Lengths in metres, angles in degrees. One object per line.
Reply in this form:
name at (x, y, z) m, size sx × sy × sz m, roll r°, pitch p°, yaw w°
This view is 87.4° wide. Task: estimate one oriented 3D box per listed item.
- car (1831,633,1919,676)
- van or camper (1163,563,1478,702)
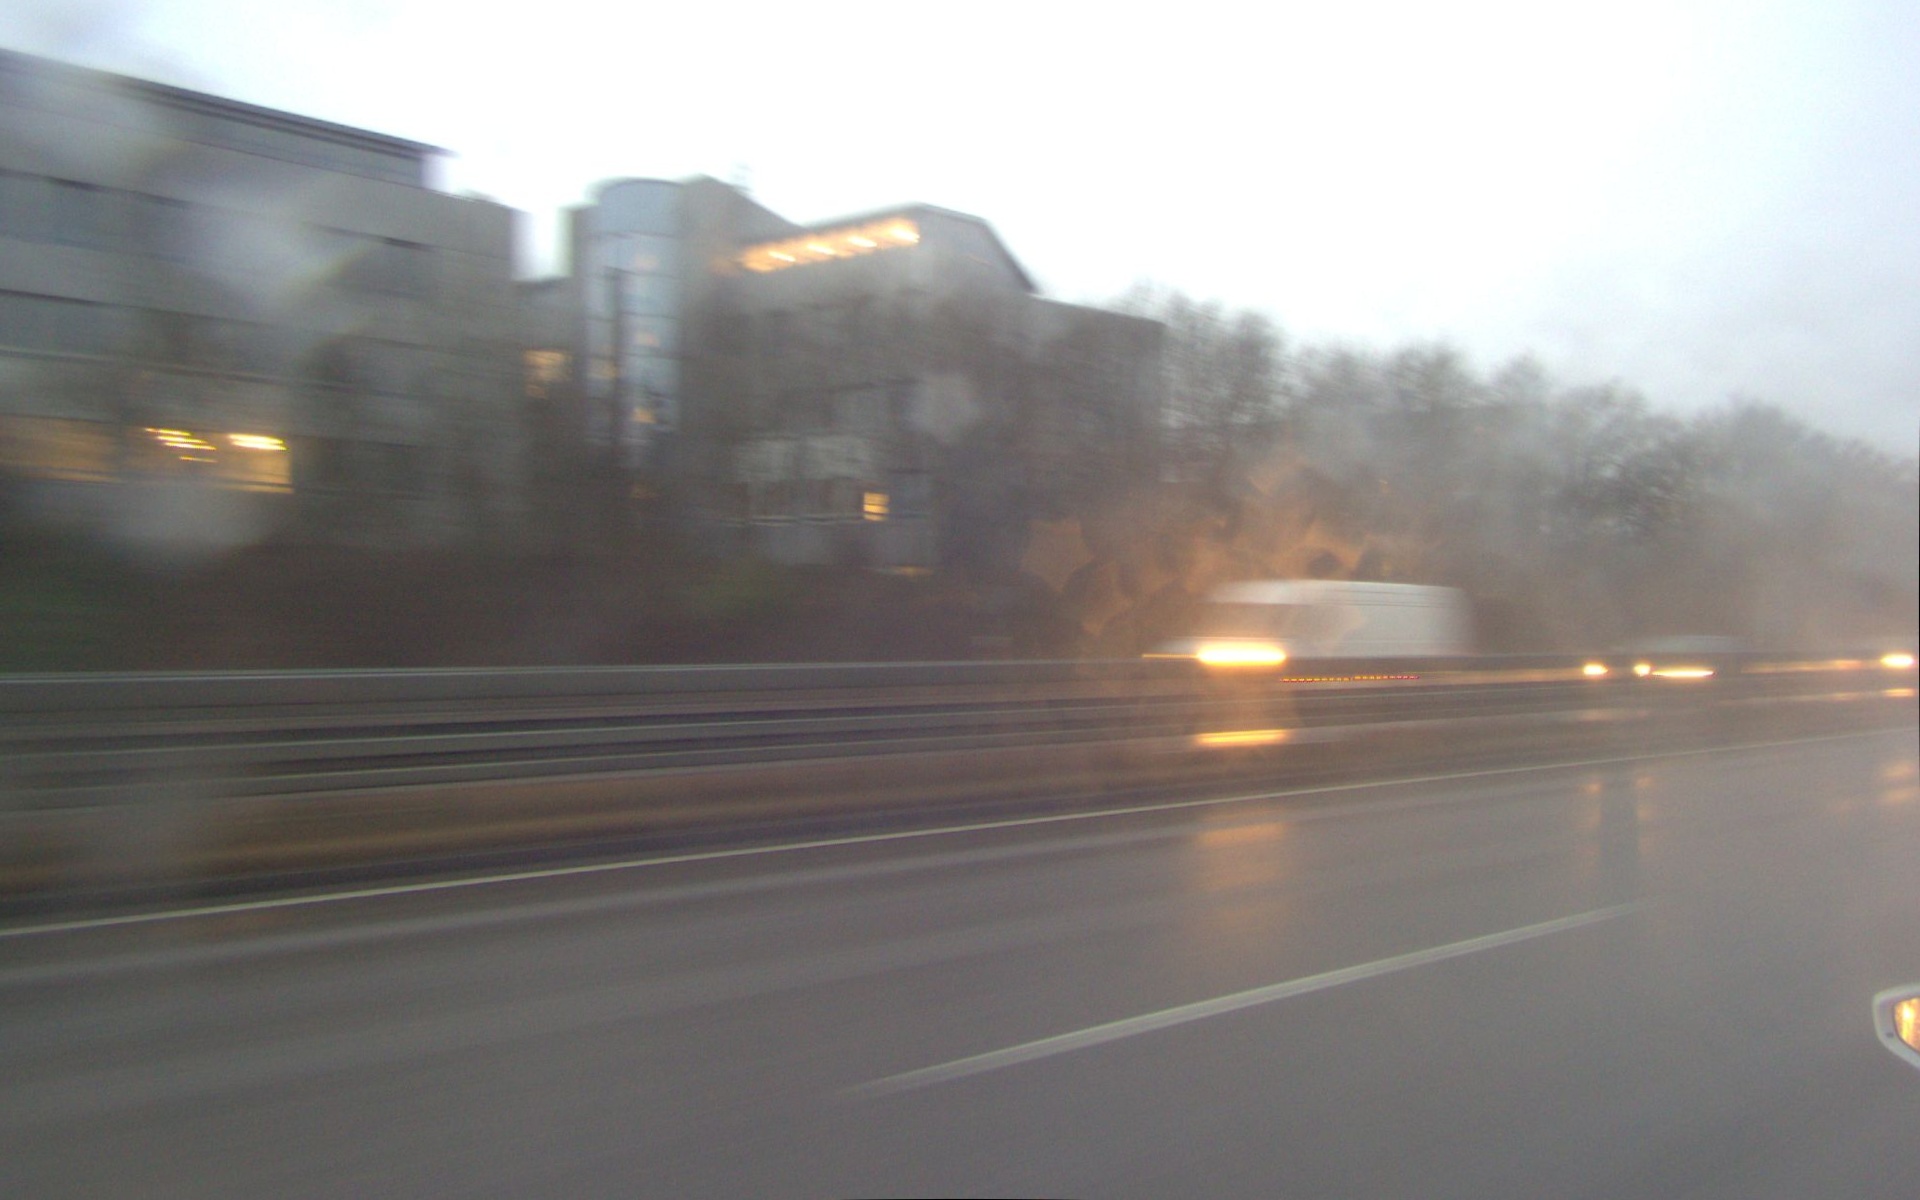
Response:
car at (33.505, 1.925, 36.171) m, size 4.156 × 1.378 × 1.887 m, roll 1°, pitch 1°, yaw -29°
van or camper at (7.873, 0.648, 21.556) m, size 7.315 × 2.606 × 2.066 m, roll 1°, pitch 2°, yaw -30°
